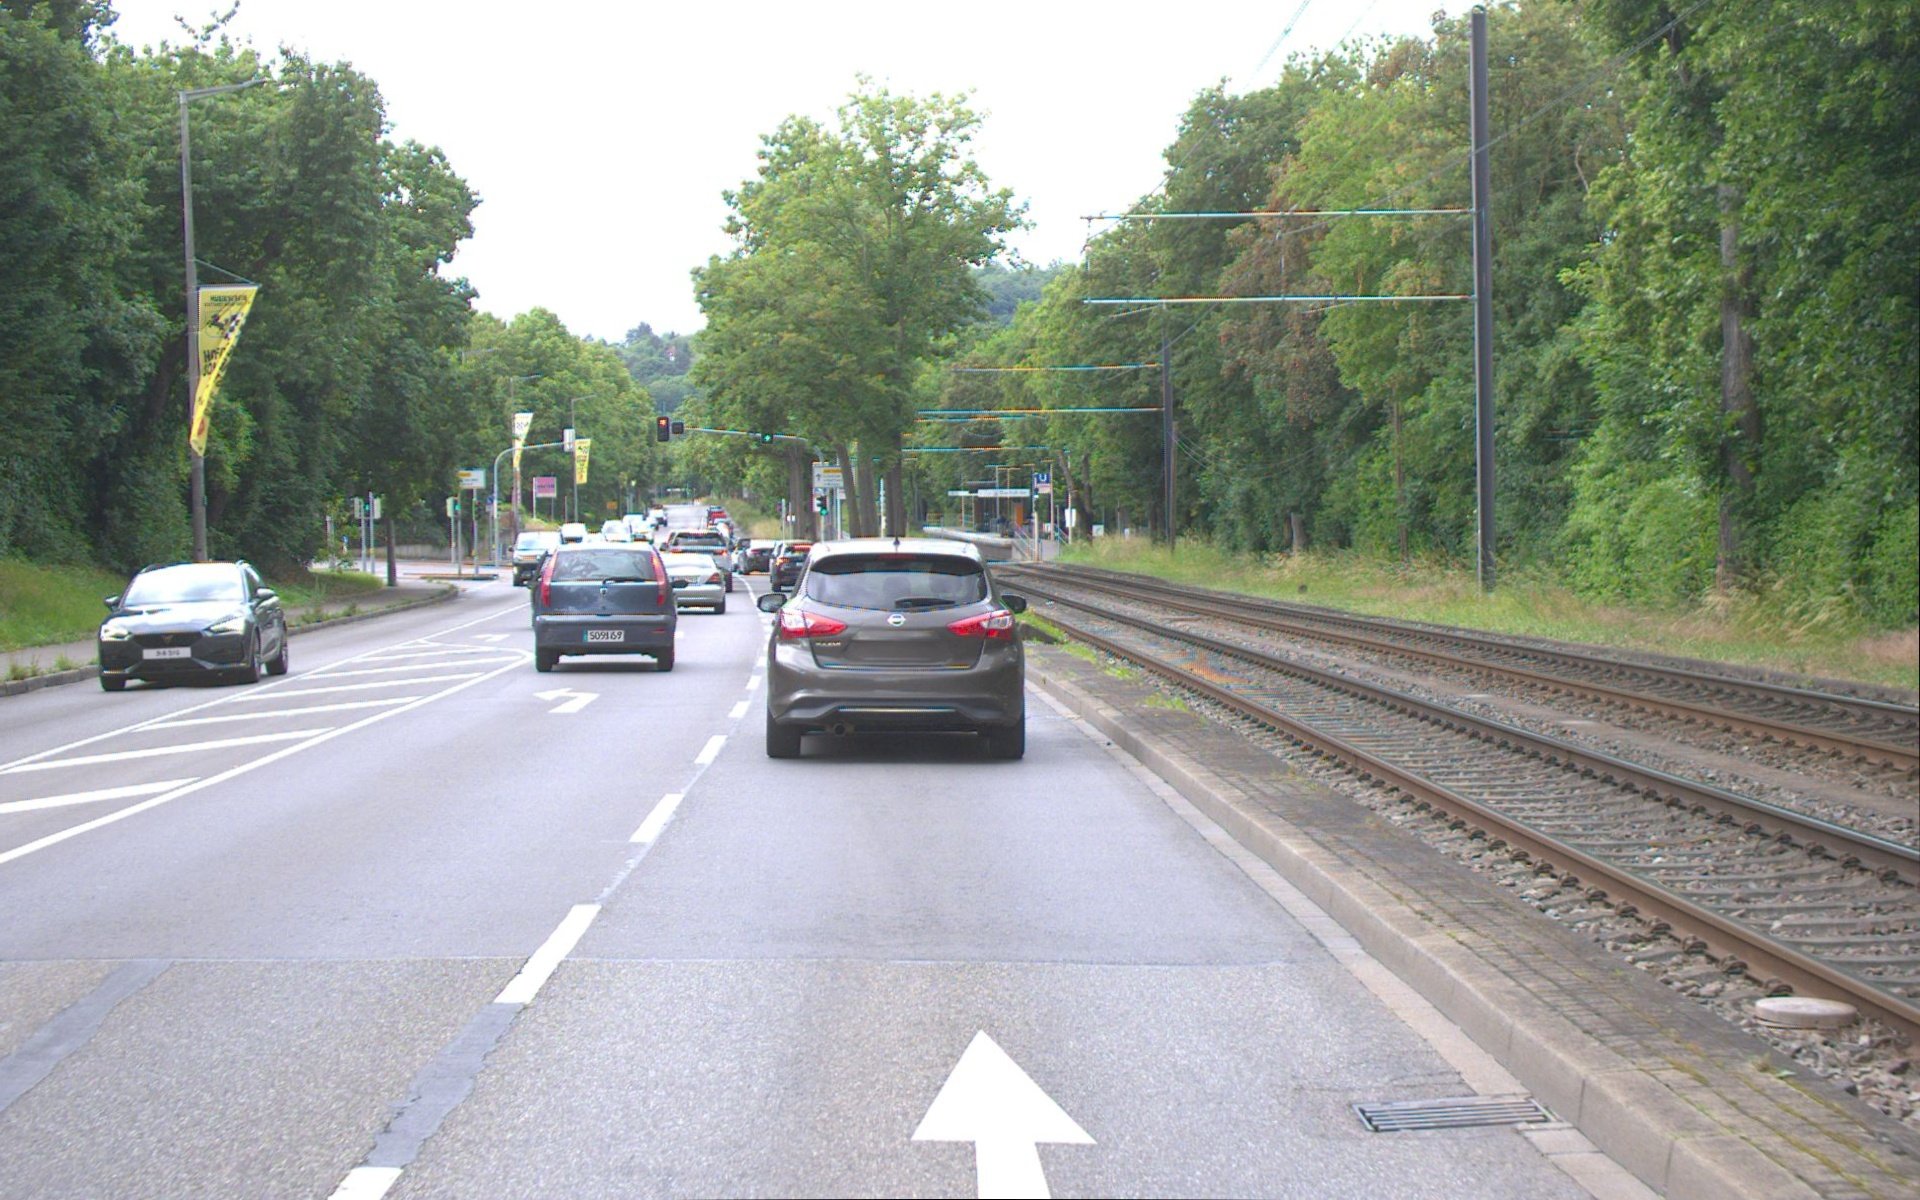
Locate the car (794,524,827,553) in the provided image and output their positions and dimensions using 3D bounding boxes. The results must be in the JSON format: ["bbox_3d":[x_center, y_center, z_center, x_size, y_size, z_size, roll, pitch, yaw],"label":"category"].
[{"bbox_3d":[-8.215,-3.377,188.740,1.715,1.545,4.000,0,1,-1],"label":"car"}]

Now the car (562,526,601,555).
[{"bbox_3d":[-20.332,-3.212,184.911,1.715,1.545,4.000,0,1,-1],"label":"car"}]

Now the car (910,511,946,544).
[{"bbox_3d":[-1.654,-3.744,177.406,1.715,1.657,3.708,0,1,-3],"label":"car"}]

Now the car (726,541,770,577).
[{"bbox_3d":[-9.183,-1.766,149.343,1.715,1.545,4.000,0,1,-1],"label":"car"}]

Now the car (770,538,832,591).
[{"bbox_3d":[-4.677,-1.050,101.524,1.715,1.545,4.000,0,1,-1],"label":"car"}]

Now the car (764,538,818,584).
[{"bbox_3d":[-5.779,-1.333,117.697,1.715,1.545,4.000,0,1,-1],"label":"car"}]

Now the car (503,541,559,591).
[{"bbox_3d":[-15.362,-1.233,123.276,1.715,1.754,4.000,0,1,-3],"label":"car"}]

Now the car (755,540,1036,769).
[{"bbox_3d":[-0.440,0.324,24.680,1.850,1.488,4.000,0,1,0],"label":"car"}]

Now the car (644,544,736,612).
[{"bbox_3d":[-5.798,-0.489,74.151,1.715,1.430,4.000,0,1,-1],"label":"car"}]

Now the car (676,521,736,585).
[{"bbox_3d":[-7.516,-1.379,101.843,1.715,1.857,4.001,0,1,-3],"label":"car"}]

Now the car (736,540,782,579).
[{"bbox_3d":[-8.066,-1.626,138.202,1.715,1.545,4.000,0,1,-1],"label":"car"}]

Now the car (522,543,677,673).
[{"bbox_3d":[-4.204,0.056,40.494,1.699,1.438,4.001,0,1,-4],"label":"car"}]

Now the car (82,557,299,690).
[{"bbox_3d":[-9.037,0.237,40.696,1.841,1.371,4.448,-3,1,-5],"label":"car"}]

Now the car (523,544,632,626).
[{"bbox_3d":[-6.900,-0.282,62.242,1.715,1.430,4.000,0,1,-3],"label":"car"}]

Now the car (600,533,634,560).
[{"bbox_3d":[-20.459,-3.186,205.139,1.715,1.545,4.000,0,1,-1],"label":"car"}]

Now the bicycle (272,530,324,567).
[{"bbox_3d":[-19.786,-1.541,102.771,0.499,1.104,1.797,0,1,30],"label":"bicycle"}]
